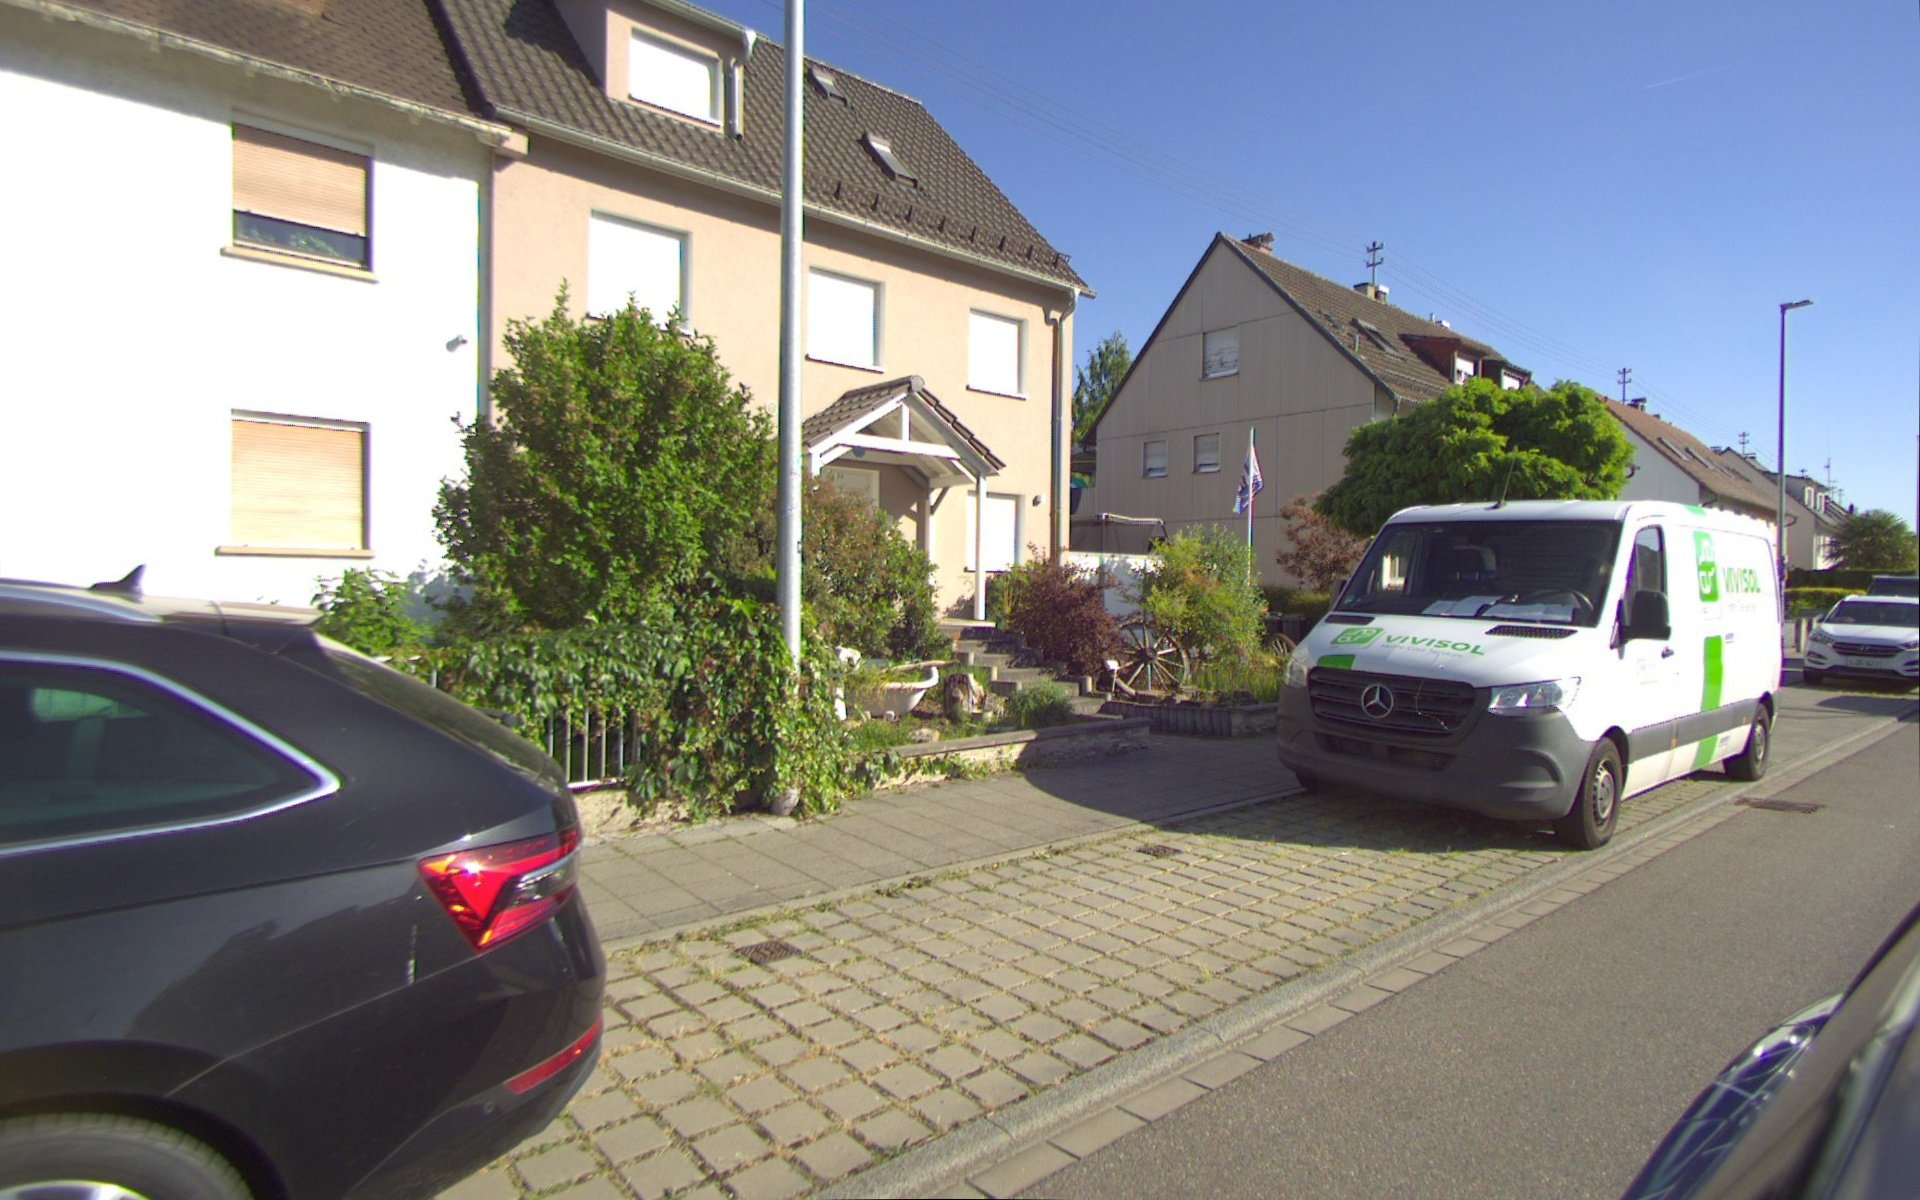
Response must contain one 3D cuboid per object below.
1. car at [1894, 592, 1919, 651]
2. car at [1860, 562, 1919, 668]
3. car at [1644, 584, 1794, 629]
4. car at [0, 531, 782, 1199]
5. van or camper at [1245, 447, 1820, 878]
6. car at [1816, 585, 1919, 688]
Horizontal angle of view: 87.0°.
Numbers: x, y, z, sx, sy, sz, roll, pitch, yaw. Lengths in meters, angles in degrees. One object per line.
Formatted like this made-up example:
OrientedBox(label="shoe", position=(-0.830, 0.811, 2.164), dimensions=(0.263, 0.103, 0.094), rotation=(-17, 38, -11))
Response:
OrientedBox(label="car", position=(26.595, 0.572, 26.893), dimensions=(5.513, 1.461, 1.857), rotation=(0, 3, -40))
OrientedBox(label="car", position=(21.617, 0.290, 22.316), dimensions=(5.242, 2.170, 1.963), rotation=(-1, 2, -41))
OrientedBox(label="car", position=(29.632, 0.215, 39.599), dimensions=(2.160, 1.676, 4.418), rotation=(-1, 1, -43))
OrientedBox(label="car", position=(-2.892, 0.634, 1.313), dimensions=(5.064, 1.512, 1.752), rotation=(-1, 3, -41))
OrientedBox(label="van or camper", position=(4.963, 0.260, 8.166), dimensions=(6.194, 2.299, 1.998), rotation=(-1, 3, -41))
OrientedBox(label="car", position=(17.299, 0.588, 18.601), dimensions=(4.243, 1.665, 1.729), rotation=(-1, 3, -41))
